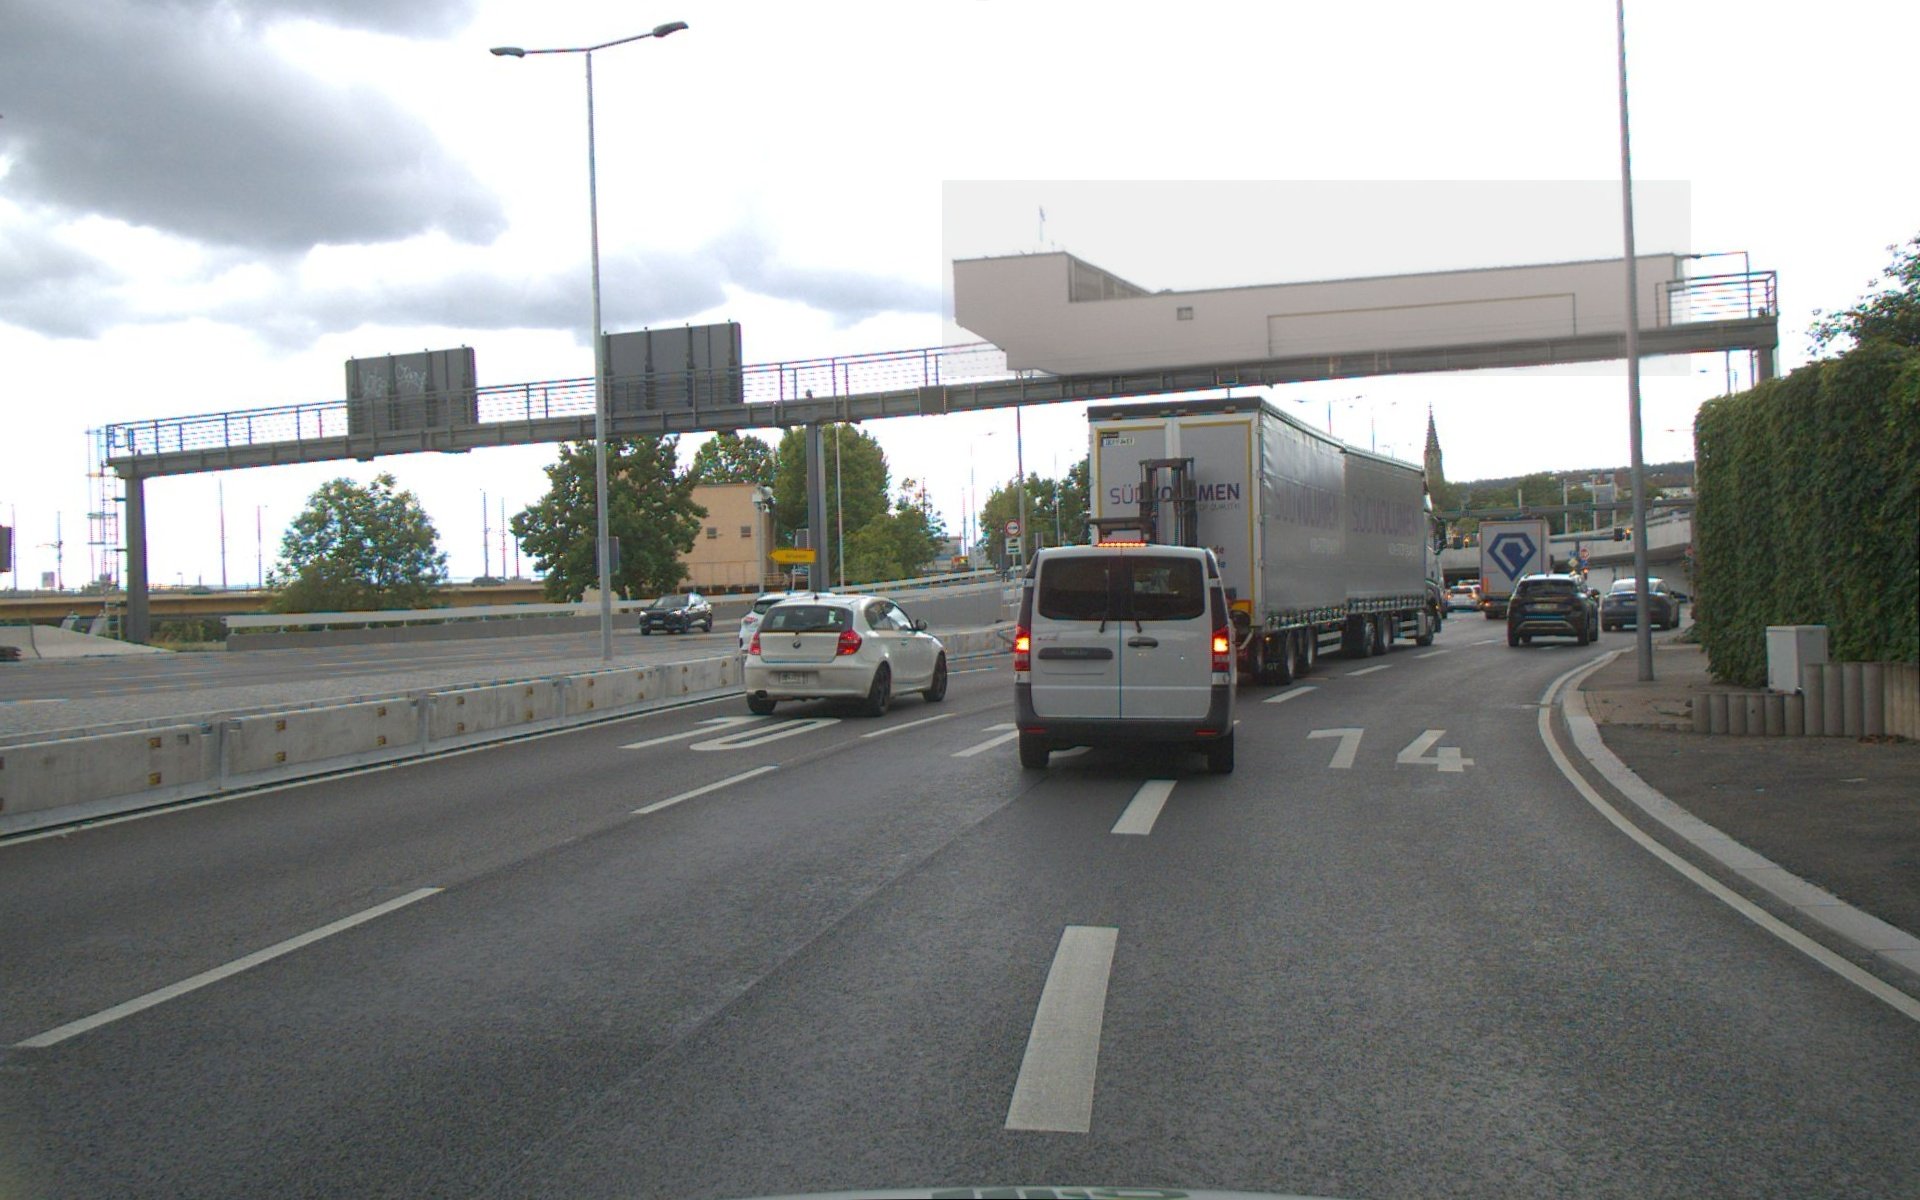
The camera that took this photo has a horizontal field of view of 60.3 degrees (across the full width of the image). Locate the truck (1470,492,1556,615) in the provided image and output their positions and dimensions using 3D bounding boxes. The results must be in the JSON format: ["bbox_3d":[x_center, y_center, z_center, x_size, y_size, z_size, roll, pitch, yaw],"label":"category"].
[{"bbox_3d":[23.612,-1.853,70.301,3.001,4.887,9.158,2,0,21],"label":"truck"}]

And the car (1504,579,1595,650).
[{"bbox_3d":[13.469,0.354,37.871,1.853,1.547,4.001,0,-1,19],"label":"car"}]

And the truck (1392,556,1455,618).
[{"bbox_3d":[19.668,-0.514,70.094,1.954,2.518,3.998,2,0,24],"label":"truck"}]

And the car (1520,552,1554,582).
[{"bbox_3d":[38.347,-2.169,109.874,1.953,1.814,4.000,2,0,22],"label":"car"}]

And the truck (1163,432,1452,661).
[{"bbox_3d":[7.981,-1.005,36.233,3.651,4.214,10.974,-1,0,26],"label":"truck"}]

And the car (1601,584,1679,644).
[{"bbox_3d":[19.529,0.383,47.644,1.853,1.654,4.001,0,0,19],"label":"car"}]

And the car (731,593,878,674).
[{"bbox_3d":[-3.020,0.633,32.931,1.707,1.457,3.778,2,0,15],"label":"car"}]

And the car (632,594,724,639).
[{"bbox_3d":[-10.918,0.637,64.355,1.951,1.612,4.139,2,0,15],"label":"car"}]

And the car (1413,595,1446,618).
[{"bbox_3d":[35.245,0.463,124.145,1.953,1.713,4.000,0,0,22],"label":"car"}]

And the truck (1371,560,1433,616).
[{"bbox_3d":[17.155,-0.452,64.075,1.952,2.066,3.833,2,0,20],"label":"truck"}]

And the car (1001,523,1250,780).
[{"bbox_3d":[1.695,0.411,15.712,1.951,2.025,5.204,-1,0,9],"label":"car"}]

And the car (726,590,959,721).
[{"bbox_3d":[-1.385,0.645,21.148,1.707,1.457,4.003,2,0,15],"label":"car"}]

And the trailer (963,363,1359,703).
[{"bbox_3d":[3.721,-0.842,26.248,3.648,4.214,10.984,-1,0,21],"label":"trailer"}]
